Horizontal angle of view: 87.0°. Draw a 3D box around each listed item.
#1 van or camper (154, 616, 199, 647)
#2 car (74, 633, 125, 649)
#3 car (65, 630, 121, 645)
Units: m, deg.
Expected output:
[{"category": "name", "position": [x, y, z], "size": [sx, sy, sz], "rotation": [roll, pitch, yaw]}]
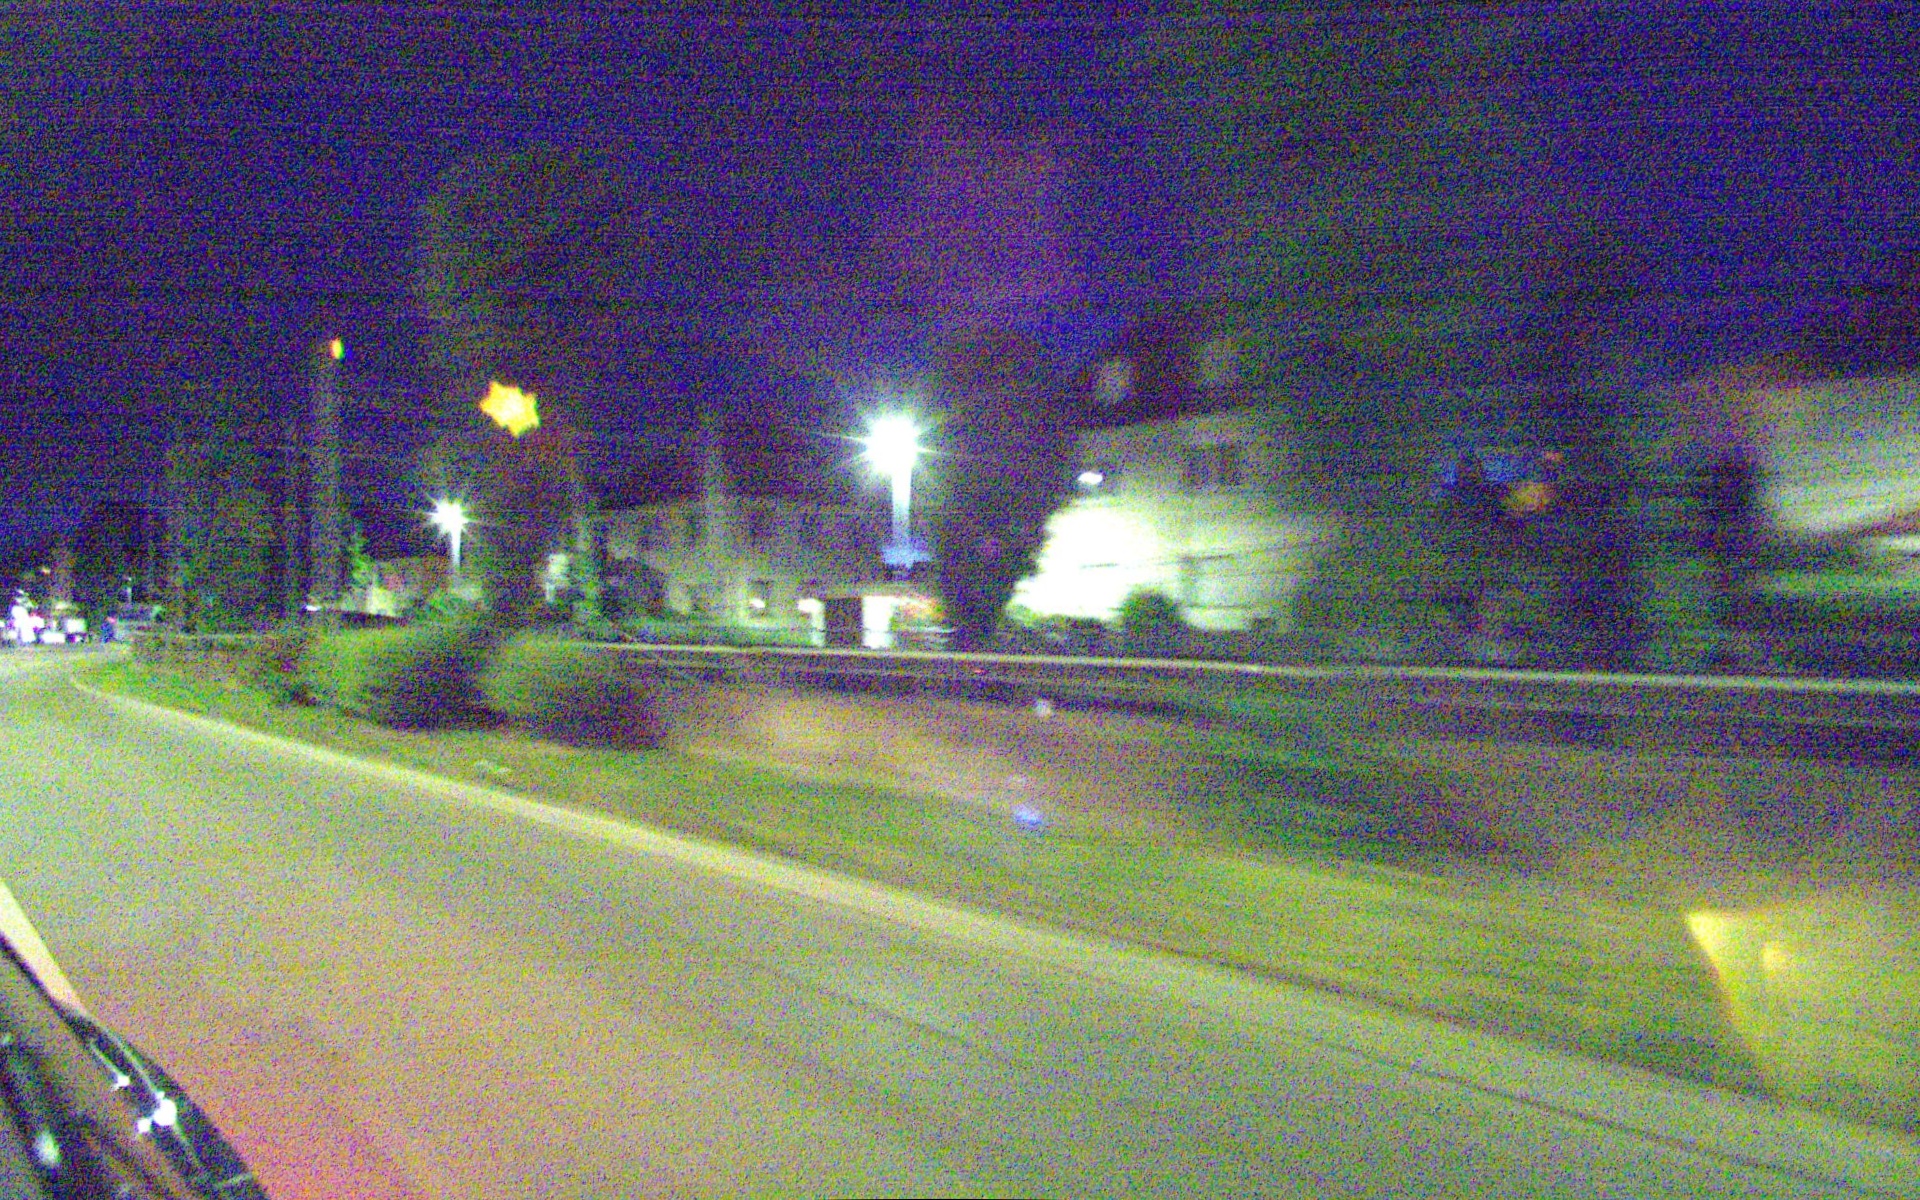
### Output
[{"category": "van or camper", "position": [-76.091, 3.071, 98.255], "size": [5.920, 2.768, 2.055], "rotation": [-3, -2, 37]}, {"category": "car", "position": [-92.861, 4.413, 109.252], "size": [1.999, 1.630, 3.945], "rotation": [-3, -2, 41]}, {"category": "car", "position": [-94.885, 4.071, 110.804], "size": [2.022, 1.573, 4.280], "rotation": [-3, -2, 31]}]
